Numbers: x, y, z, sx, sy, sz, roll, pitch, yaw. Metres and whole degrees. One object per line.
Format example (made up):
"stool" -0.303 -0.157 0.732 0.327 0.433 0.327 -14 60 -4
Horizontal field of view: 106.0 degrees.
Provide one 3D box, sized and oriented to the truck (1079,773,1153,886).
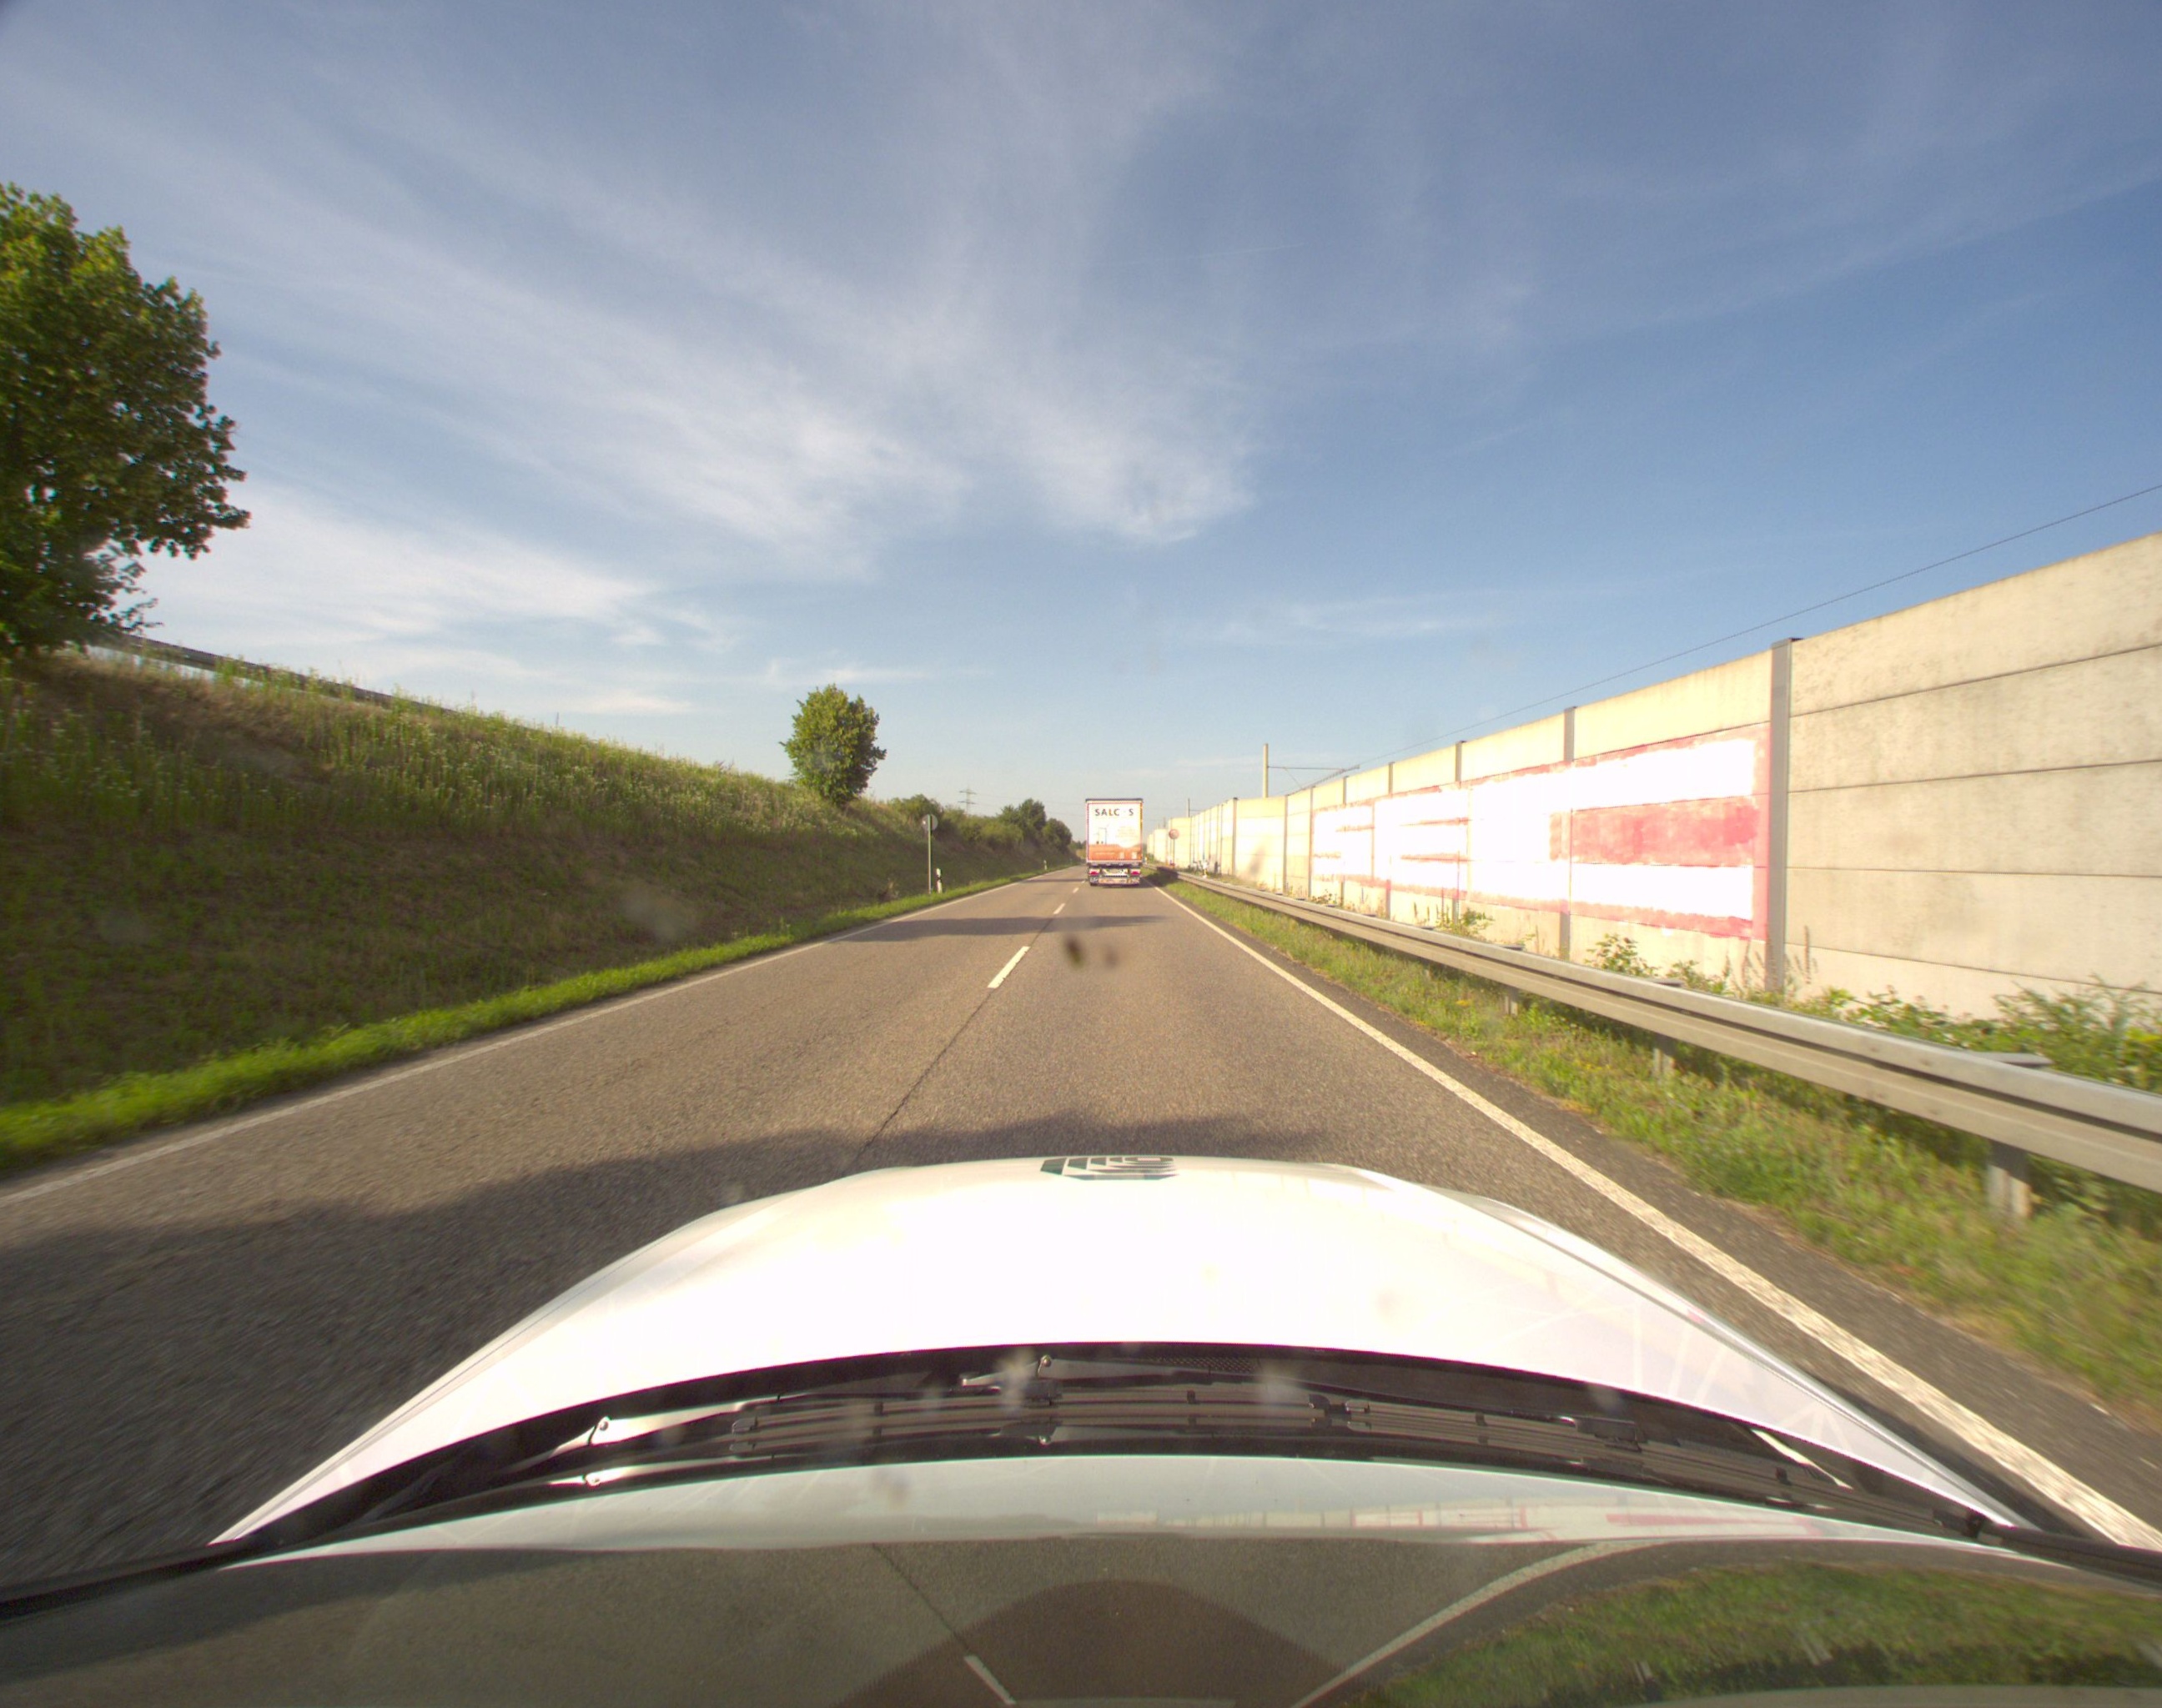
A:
"truck" 1.622 -1.120 42.579 3.279 5.090 12.037 0 0 0
